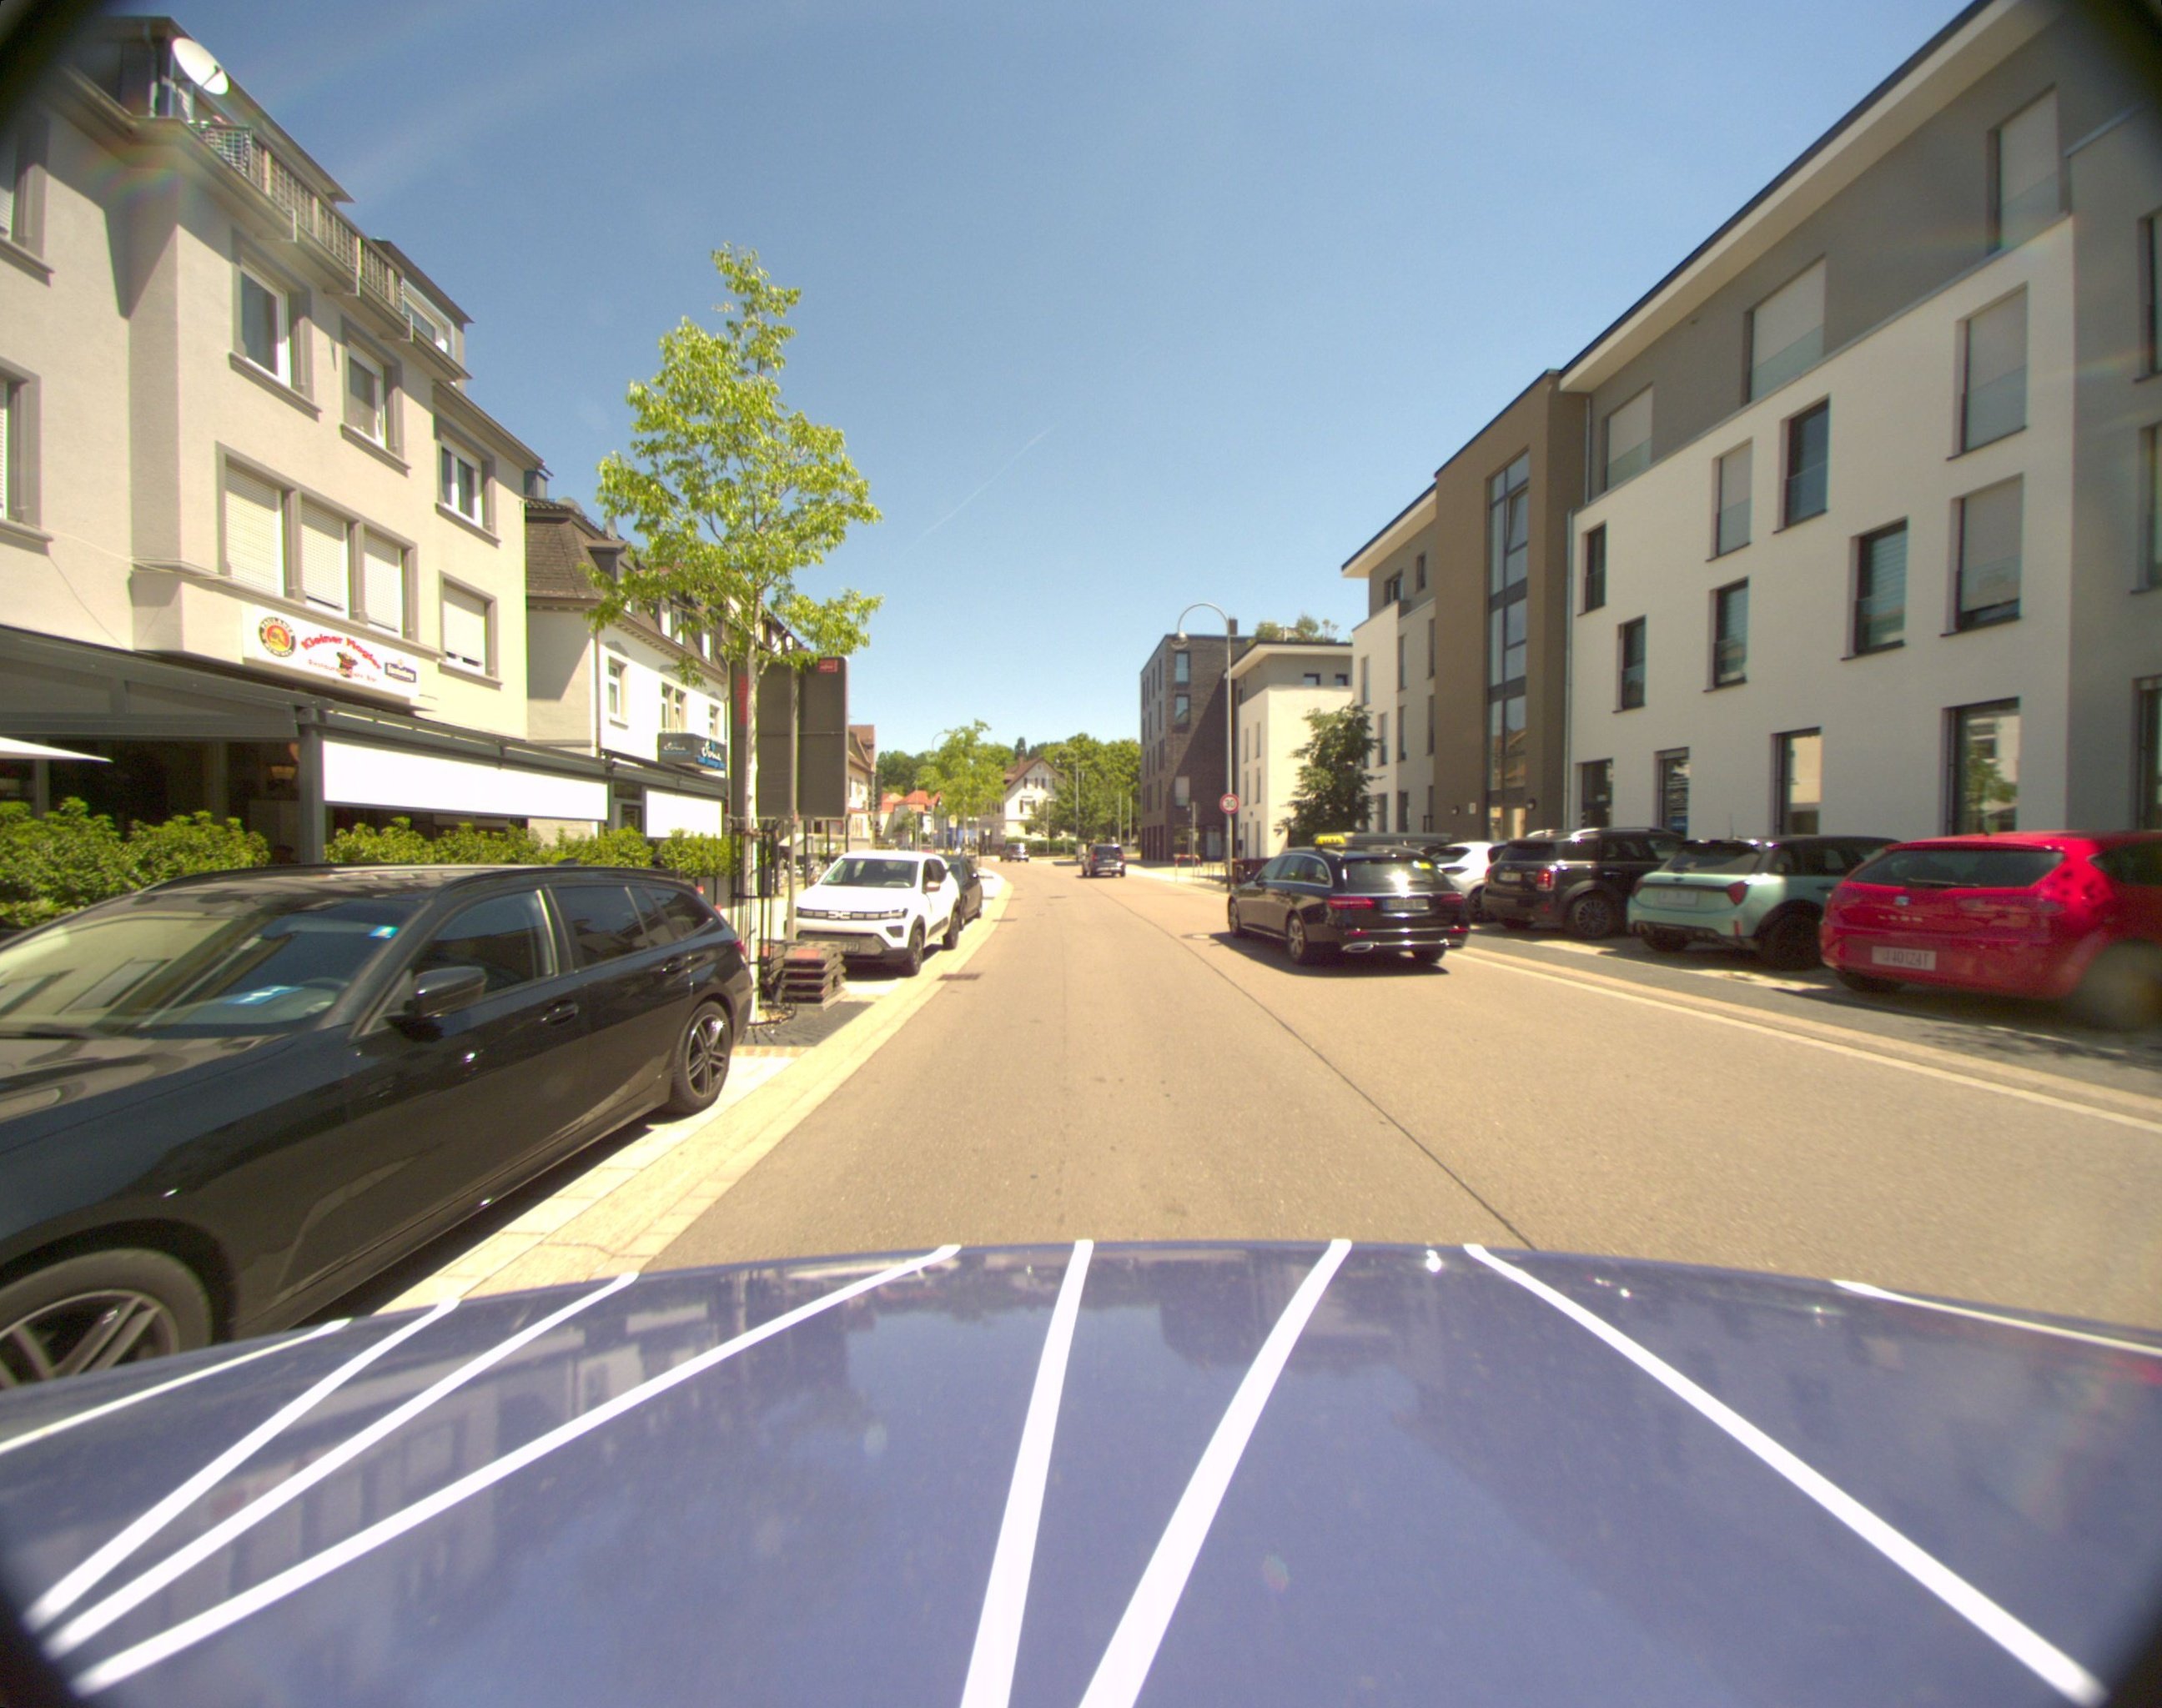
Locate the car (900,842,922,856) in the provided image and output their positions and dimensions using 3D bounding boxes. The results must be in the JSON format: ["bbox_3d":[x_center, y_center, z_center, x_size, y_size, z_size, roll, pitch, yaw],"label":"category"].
[{"bbox_3d":[-19.349,-0.586,86.418,1.738,1.464,4.314,2,1,-23],"label":"car"}]

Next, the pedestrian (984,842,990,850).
[{"bbox_3d":[-12.100,-0.991,97.588,0.599,1.053,0.566,-1,2,-24],"label":"pedestrian"}]

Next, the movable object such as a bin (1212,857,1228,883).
[{"bbox_3d":[5.411,0.627,29.495,0.484,0.992,0.587,-1,1,-3],"label":"movable object such as a bin"}]

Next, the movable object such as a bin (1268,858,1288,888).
[{"bbox_3d":[6.764,0.645,26.086,0.555,0.992,0.427,-1,1,-2],"label":"movable object such as a bin"}]

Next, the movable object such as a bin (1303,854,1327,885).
[{"bbox_3d":[8.113,0.521,26.302,0.578,1.033,0.549,-1,2,-21],"label":"movable object such as a bin"}]

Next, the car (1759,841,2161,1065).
[{"bbox_3d":[8.498,0.664,6.328,4.044,1.422,1.999,-2,1,-4],"label":"car"}]

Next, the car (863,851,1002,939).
[{"bbox_3d":[-2.952,0.745,16.035,1.836,1.474,4.096,2,2,4],"label":"car"}]

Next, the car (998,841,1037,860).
[{"bbox_3d":[-5.661,-0.337,67.222,1.951,1.649,4.225,-2,2,-27],"label":"car"}]

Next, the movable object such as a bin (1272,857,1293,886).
[{"bbox_3d":[7.097,0.605,26.777,0.556,1.014,0.560,-1,1,-8],"label":"movable object such as a bin"}]

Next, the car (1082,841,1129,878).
[{"bbox_3d":[1.192,0.250,38.618,1.816,1.691,4.073,-2,1,-5],"label":"car"}]

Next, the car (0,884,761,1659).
[{"bbox_3d":[-3.065,0.929,2.894,1.728,1.397,4.608,0,1,0],"label":"car"}]

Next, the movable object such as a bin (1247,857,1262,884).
[{"bbox_3d":[6.614,0.621,28.955,0.404,0.992,0.555,-1,1,-5],"label":"movable object such as a bin"}]

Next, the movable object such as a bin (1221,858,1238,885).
[{"bbox_3d":[5.655,0.671,28.885,0.484,0.992,0.587,-1,1,-5],"label":"movable object such as a bin"}]

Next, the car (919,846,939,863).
[{"bbox_3d":[-14.846,0.027,74.289,1.685,1.505,3.382,-2,1,-14],"label":"car"}]

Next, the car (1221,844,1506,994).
[{"bbox_3d":[3.473,0.684,10.516,1.899,1.544,4.797,-1,0,-4],"label":"car"}]

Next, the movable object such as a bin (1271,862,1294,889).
[{"bbox_3d":[6.774,0.711,25.524,0.556,0.863,0.481,-1,2,-21],"label":"movable object such as a bin"}]

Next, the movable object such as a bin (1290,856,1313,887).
[{"bbox_3d":[7.560,0.595,26.093,0.556,1.033,0.544,-1,2,-21],"label":"movable object such as a bin"}]

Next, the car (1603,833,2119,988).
[{"bbox_3d":[8.813,0.564,8.897,4.043,1.488,1.999,-2,1,-2],"label":"car"}]

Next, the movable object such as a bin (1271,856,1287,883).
[{"bbox_3d":[7.551,0.576,28.985,0.404,0.992,0.555,-1,1,-5],"label":"movable object such as a bin"}]

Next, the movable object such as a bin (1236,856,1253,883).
[{"bbox_3d":[6.344,0.601,29.532,0.484,0.992,0.587,-1,1,-5],"label":"movable object such as a bin"}]

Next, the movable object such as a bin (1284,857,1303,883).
[{"bbox_3d":[8.233,0.607,29.463,0.484,0.992,0.587,-1,1,-11],"label":"movable object such as a bin"}]

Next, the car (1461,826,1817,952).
[{"bbox_3d":[8.367,0.470,11.684,4.043,1.642,1.999,-2,1,-2],"label":"car"}]

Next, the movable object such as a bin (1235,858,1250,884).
[{"bbox_3d":[6.146,0.640,28.909,0.404,0.992,0.555,-1,1,-5],"label":"movable object such as a bin"}]

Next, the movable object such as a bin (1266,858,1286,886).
[{"bbox_3d":[7.091,0.664,27.631,0.556,0.992,0.404,0,1,-17],"label":"movable object such as a bin"}]

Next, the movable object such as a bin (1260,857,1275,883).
[{"bbox_3d":[7.114,0.608,28.963,0.404,0.992,0.555,-1,1,-5],"label":"movable object such as a bin"}]

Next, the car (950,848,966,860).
[{"bbox_3d":[-15.047,-0.033,92.741,1.673,1.388,3.843,-2,1,-12],"label":"car"}]

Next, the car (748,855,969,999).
[{"bbox_3d":[-2.799,0.826,10.562,1.742,1.477,4.054,2,1,2],"label":"car"}]

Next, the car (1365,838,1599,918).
[{"bbox_3d":[8.519,0.477,16.401,3.998,1.506,1.999,-2,0,-3],"label":"car"}]

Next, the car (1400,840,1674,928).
[{"bbox_3d":[8.380,0.496,14.209,3.998,1.413,1.909,-2,1,-3],"label":"car"}]
